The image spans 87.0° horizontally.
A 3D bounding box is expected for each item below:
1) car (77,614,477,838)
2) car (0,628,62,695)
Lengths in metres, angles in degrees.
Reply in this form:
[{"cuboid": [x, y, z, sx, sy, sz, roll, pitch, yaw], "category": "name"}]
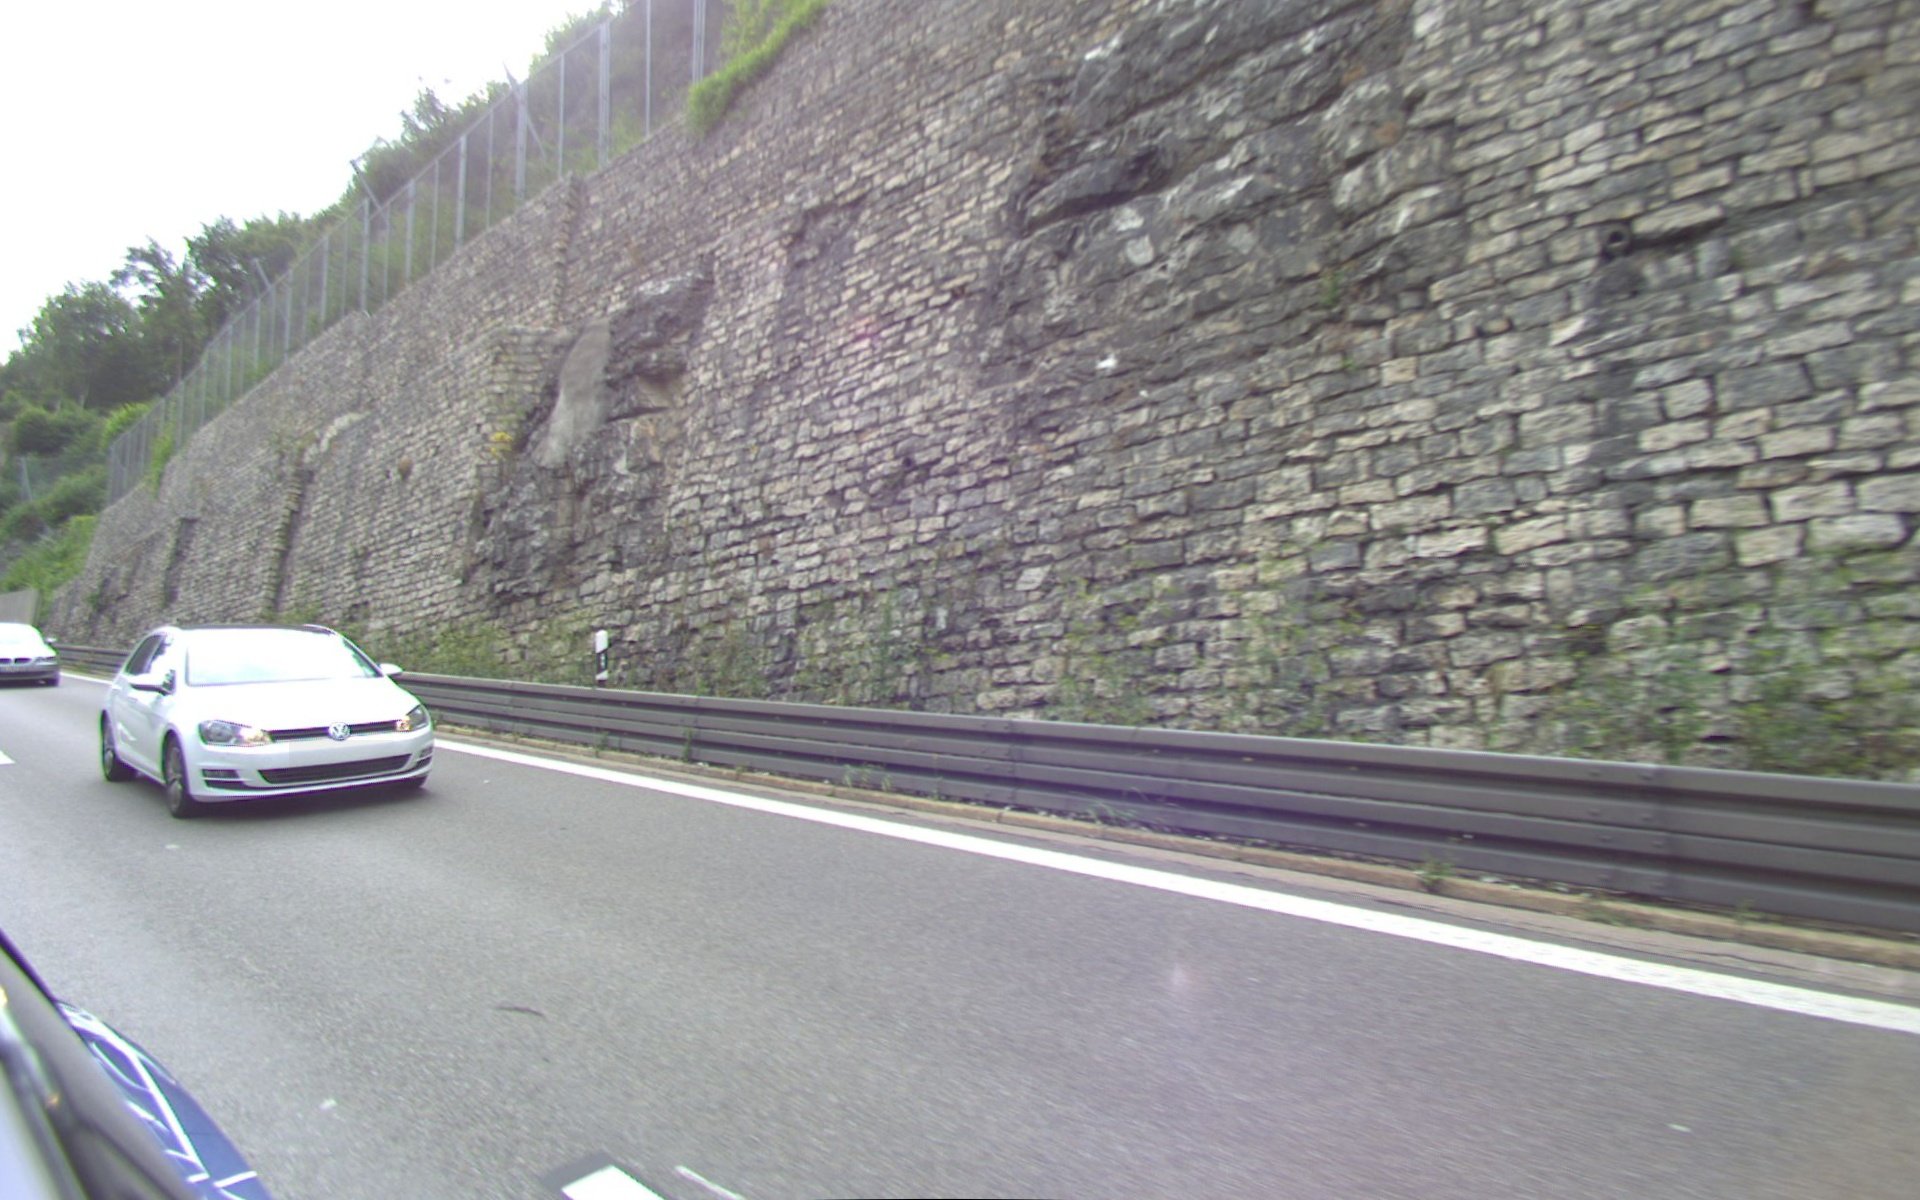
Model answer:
[{"cuboid": [-6.215, 0.886, 8.971, 4.626, 1.493, 1.825, -1, -2, 42], "category": "car"}, {"cuboid": [-23.070, 1.440, 24.145, 5.132, 1.468, 1.809, -2, -2, 41], "category": "car"}]
